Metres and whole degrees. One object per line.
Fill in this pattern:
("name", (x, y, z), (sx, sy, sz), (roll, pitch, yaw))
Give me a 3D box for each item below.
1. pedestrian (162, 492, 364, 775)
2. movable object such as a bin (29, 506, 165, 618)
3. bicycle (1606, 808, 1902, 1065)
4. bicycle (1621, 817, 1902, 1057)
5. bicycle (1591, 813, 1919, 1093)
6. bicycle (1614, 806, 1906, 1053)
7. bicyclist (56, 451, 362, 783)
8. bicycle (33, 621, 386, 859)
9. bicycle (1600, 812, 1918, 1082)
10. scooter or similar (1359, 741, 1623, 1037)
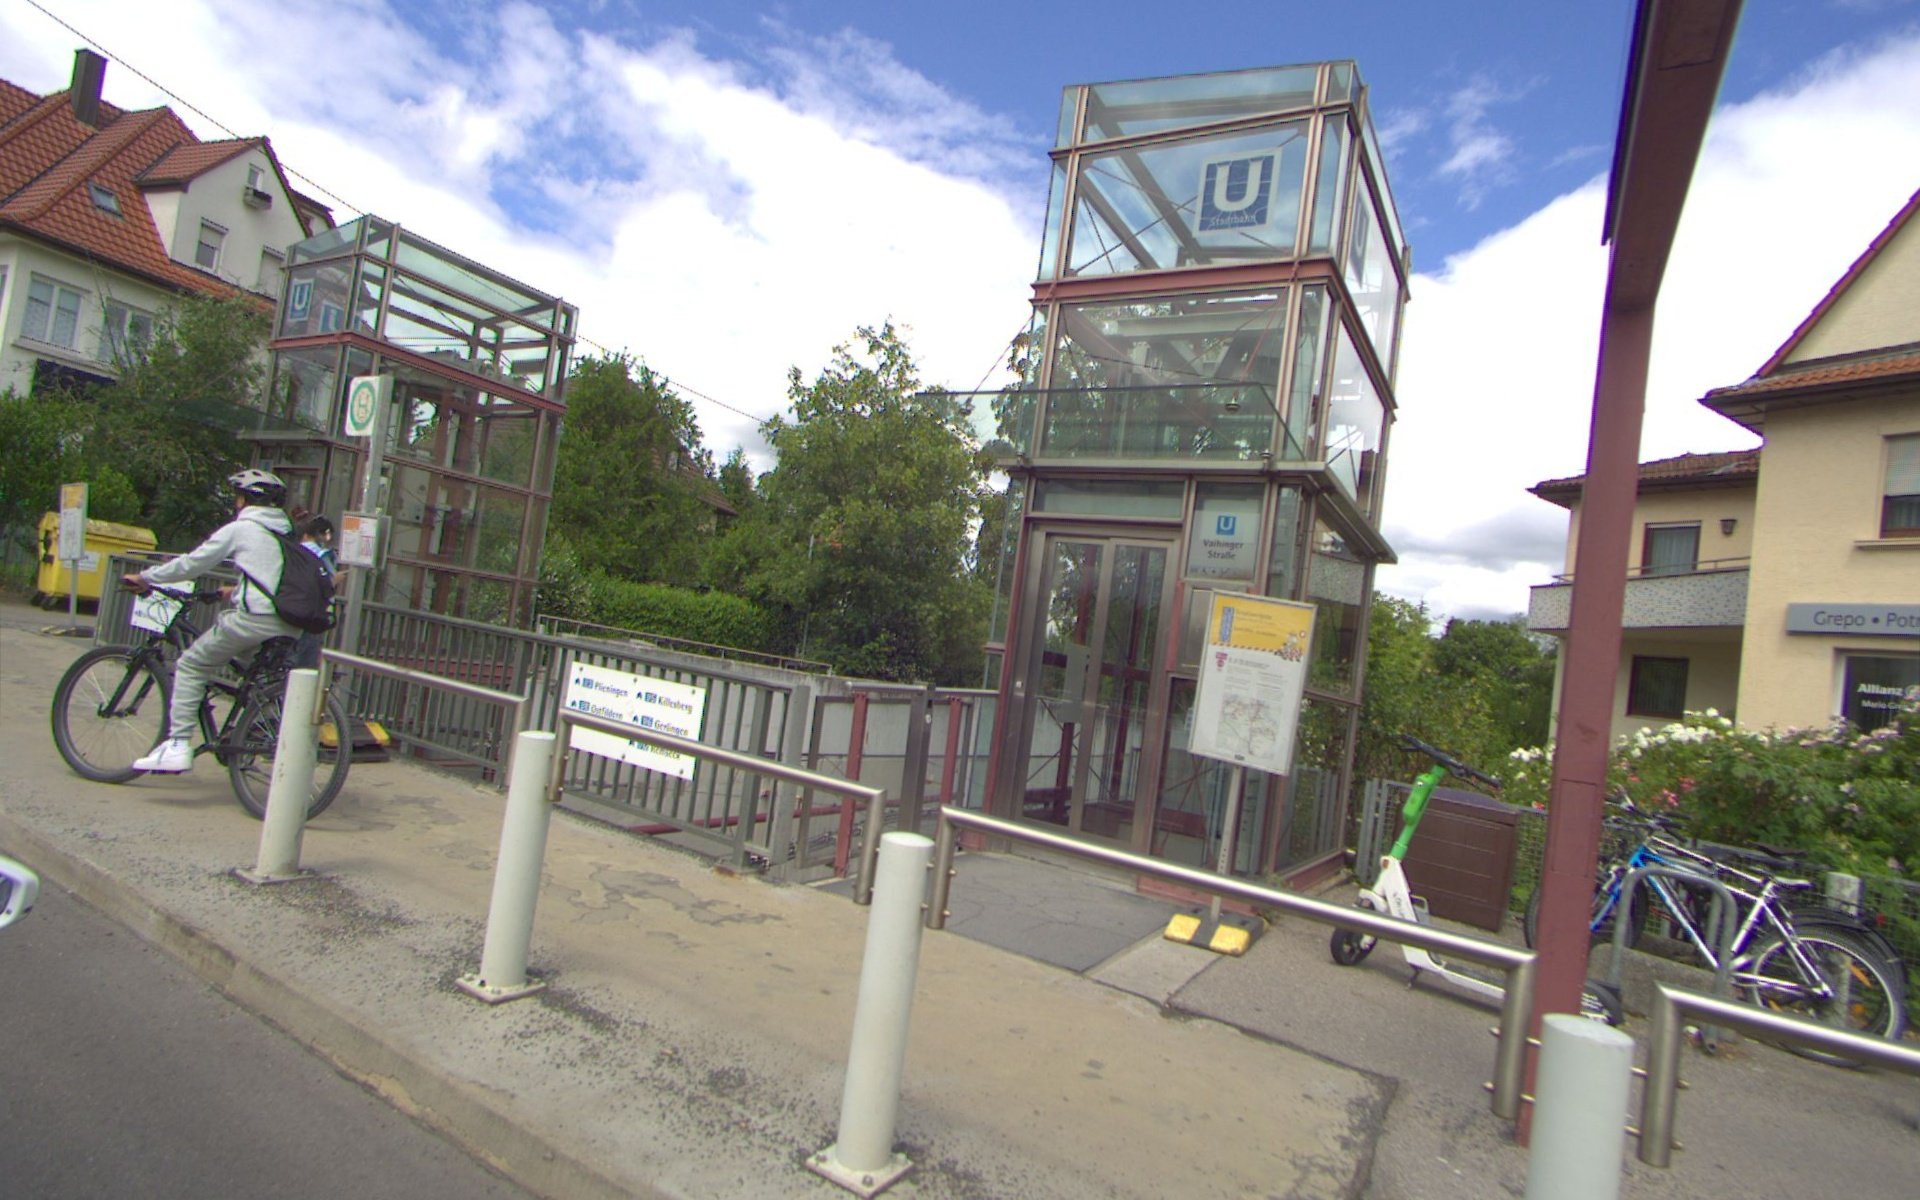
("pedestrian", (-4.204, 0.212, 6.103), (0.395, 1.596, 0.601), (5, -8, 31))
("movable object such as a bin", (-13.430, -0.587, 15.678), (0.989, 1.486, 1.269), (6, -3, 38))
("bicycle", (4.264, 1.769, 5.466), (1.153, 1.025, 0.215), (7, -1, 41))
("bicycle", (4.632, 1.912, 5.877), (1.173, 1.020, 0.215), (7, -1, 41))
("bicycle", (3.929, 1.701, 5.038), (1.187, 1.000, 0.215), (6, -1, 41))
("bicycle", (4.448, 1.793, 5.657), (1.173, 1.020, 0.215), (7, -1, 41))
("bicyclist", (-3.723, 0.068, 4.985), (1.159, 1.431, 0.658), (8, -2, 31))
("bicycle", (-3.799, 0.639, 5.034), (2.028, 0.762, 0.637), (7, -2, 32))
("bicycle", (4.112, 1.746, 5.248), (1.190, 1.012, 0.215), (6, -1, 41))
("scooter or similar", (2.518, 1.335, 4.824), (0.930, 1.125, 0.216), (11, 1, 33))
